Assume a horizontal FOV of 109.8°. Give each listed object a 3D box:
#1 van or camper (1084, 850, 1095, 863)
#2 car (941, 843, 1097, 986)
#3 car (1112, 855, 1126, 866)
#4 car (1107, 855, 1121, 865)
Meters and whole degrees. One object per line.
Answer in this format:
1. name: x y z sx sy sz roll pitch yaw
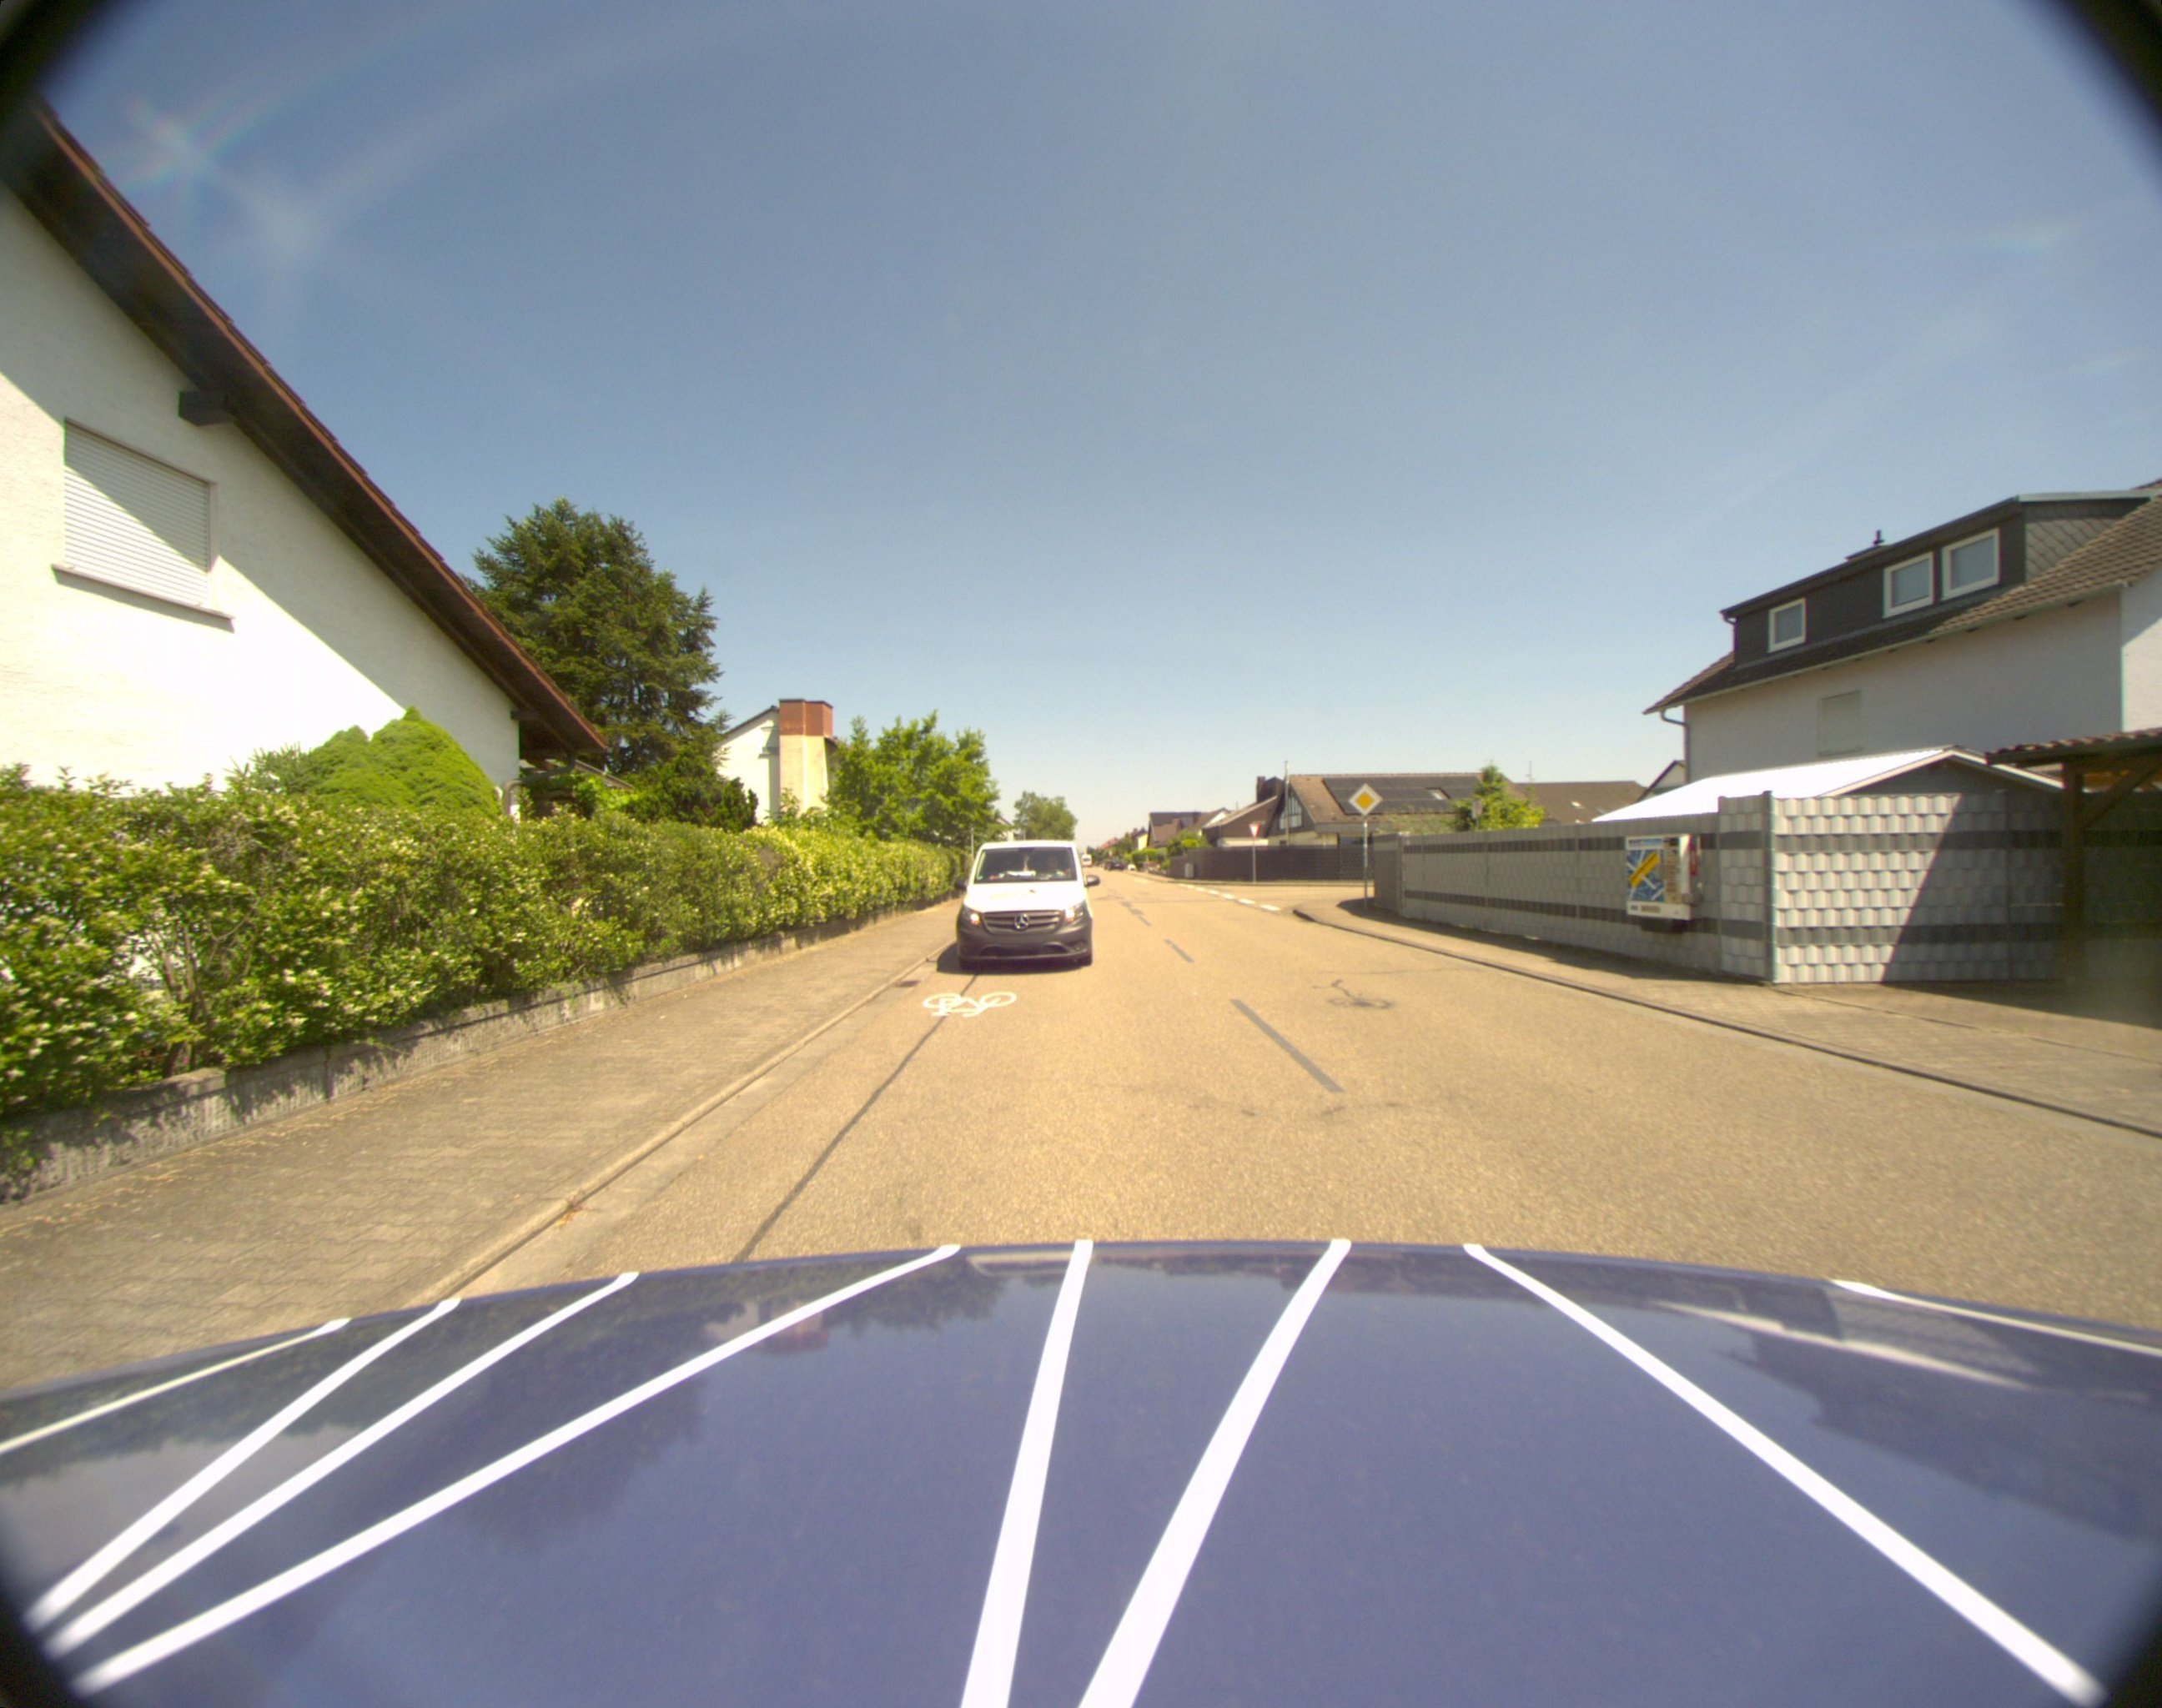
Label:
1. van or camper: 1.670 0.593 154.360 2.069 2.576 4.603 -1 0 -1
2. car: -0.789 0.780 12.493 2.018 1.845 5.068 -1 0 1
3. car: 4.784 0.829 95.817 1.807 1.390 4.000 -1 0 2
4. car: 4.925 0.926 112.051 1.998 1.390 4.000 -1 0 2
